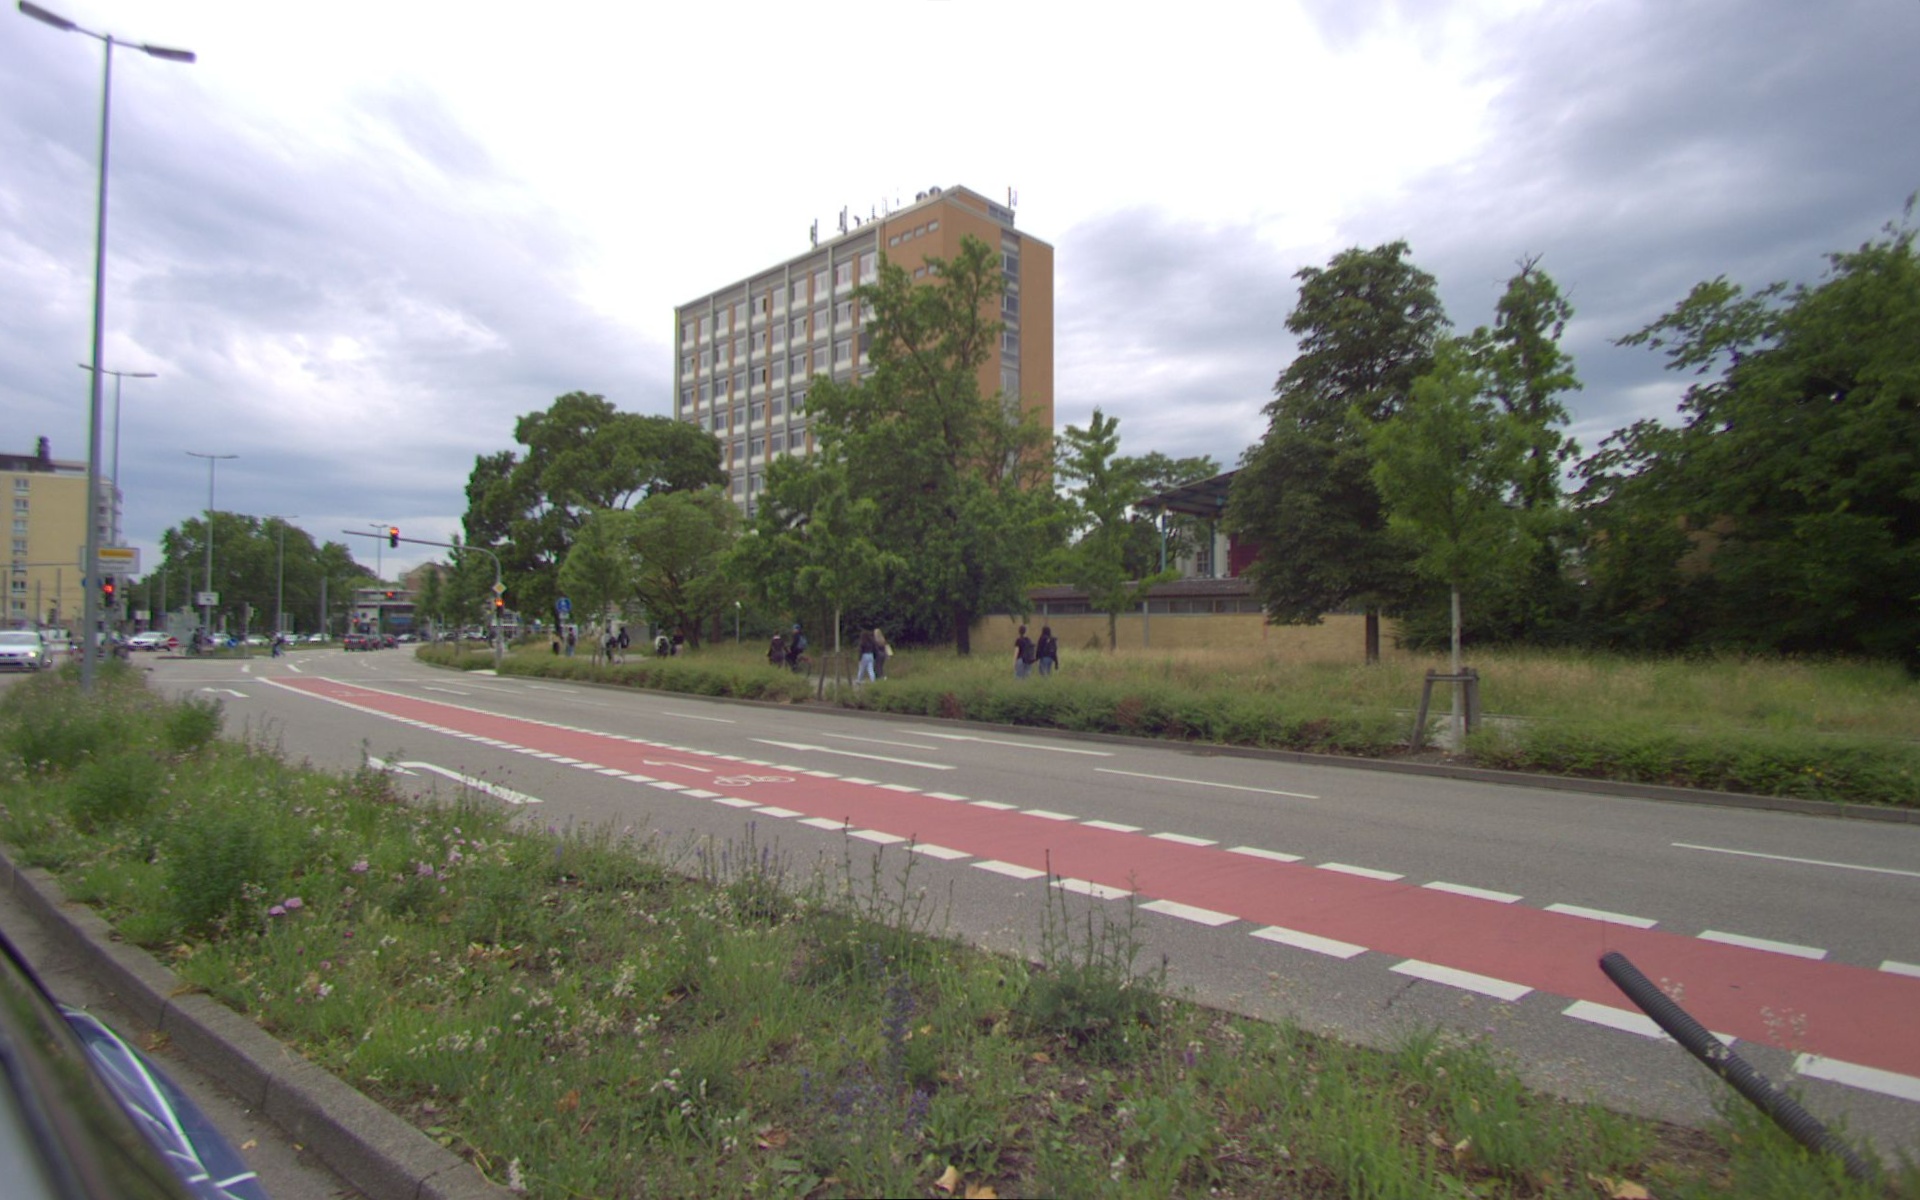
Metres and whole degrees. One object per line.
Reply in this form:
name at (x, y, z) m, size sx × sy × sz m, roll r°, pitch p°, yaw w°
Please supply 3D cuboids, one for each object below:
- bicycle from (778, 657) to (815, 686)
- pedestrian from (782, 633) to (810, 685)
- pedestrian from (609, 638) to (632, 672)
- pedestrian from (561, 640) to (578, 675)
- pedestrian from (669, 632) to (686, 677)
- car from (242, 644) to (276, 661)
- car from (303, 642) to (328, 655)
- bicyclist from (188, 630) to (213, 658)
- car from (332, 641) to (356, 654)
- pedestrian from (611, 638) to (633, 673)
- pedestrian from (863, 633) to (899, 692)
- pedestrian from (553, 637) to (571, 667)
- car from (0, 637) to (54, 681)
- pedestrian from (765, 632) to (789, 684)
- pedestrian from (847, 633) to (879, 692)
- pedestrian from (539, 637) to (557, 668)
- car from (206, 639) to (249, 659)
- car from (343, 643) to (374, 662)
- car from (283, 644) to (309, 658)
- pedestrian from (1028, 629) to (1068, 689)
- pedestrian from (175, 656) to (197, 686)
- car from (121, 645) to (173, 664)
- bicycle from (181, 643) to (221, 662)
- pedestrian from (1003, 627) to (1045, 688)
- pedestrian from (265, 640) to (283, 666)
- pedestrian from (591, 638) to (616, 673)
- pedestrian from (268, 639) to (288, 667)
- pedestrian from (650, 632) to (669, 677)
bicycle at (-5.248, 2.269, 32.424) m, size 0.651 × 0.895 × 1.720 m, roll 3°, pitch -4°, yaw -27°
pedestrian at (-5.252, 1.882, 32.466) m, size 0.651 × 1.644 × 0.766 m, roll 3°, pitch -4°, yaw -27°
pedestrian at (-16.416, 2.645, 48.945) m, size 0.826 × 1.625 × 0.629 m, roll -2°, pitch -2°, yaw 26°
pedestrian at (-20.545, 3.026, 53.217) m, size 0.629 × 1.815 × 0.763 m, roll 2°, pitch -3°, yaw -38°
pedestrian at (-11.071, 2.146, 39.669) m, size 0.570 × 1.725 × 0.764 m, roll 2°, pitch -4°, yaw -19°
car at (-75.533, 5.624, 109.117) m, size 1.808 × 1.777 × 3.922 m, roll 2°, pitch -4°, yaw -16°
car at (-81.913, 6.195, 128.682) m, size 1.775 × 1.608 × 3.770 m, roll 2°, pitch -4°, yaw -17°
bicyclist at (-48.699, 2.847, 64.898) m, size 1.173 × 1.749 × 0.808 m, roll 4°, pitch -5°, yaw -40°
car at (-84.663, 6.534, 139.050) m, size 1.584 × 1.608 × 3.767 m, roll 1°, pitch -4°, yaw -11°
pedestrian at (-14.665, 2.399, 43.930) m, size 0.627 × 1.491 × 0.763 m, roll 4°, pitch -5°, yaw -38°
pedestrian at (-2.309, 1.823, 29.569) m, size 0.767 × 1.685 × 0.699 m, roll -3°, pitch -5°, yaw 42°
pedestrian at (-22.337, 2.920, 56.806) m, size 0.697 × 1.683 × 0.891 m, roll 0°, pitch -2°, yaw -38°
car at (-33.923, 2.094, 36.245) m, size 1.758 × 1.474 × 3.880 m, roll 0°, pitch -2°, yaw -36°
pedestrian at (-5.783, 1.838, 32.031) m, size 0.567 × 1.621 × 0.618 m, roll 2°, pitch -4°, yaw -26°
pedestrian at (-2.784, 1.803, 29.101) m, size 0.720 × 1.673 × 0.579 m, roll -3°, pitch -5°, yaw 42°
pedestrian at (-22.925, 2.918, 56.306) m, size 0.697 × 1.684 × 0.945 m, roll 1°, pitch -3°, yaw -38°
car at (-71.615, 4.842, 98.986) m, size 1.966 × 1.896 × 4.010 m, roll 2°, pitch -4°, yaw -14°
car at (-56.488, 4.899, 95.107) m, size 1.785 × 1.680 × 3.962 m, roll 2°, pitch -2°, yaw -20°
car at (-79.206, 6.100, 120.748) m, size 1.583 × 1.608 × 3.770 m, roll 2°, pitch -4°, yaw -17°
pedestrian at (2.065, 1.379, 23.759) m, size 0.637 × 1.373 × 0.681 m, roll 4°, pitch -5°, yaw -44°
pedestrian at (-47.403, 4.328, 61.998) m, size 0.903 × 1.818 × 0.542 m, roll 2°, pitch -4°, yaw -26°
car at (-68.466, 4.614, 85.326) m, size 1.790 × 1.486 × 4.043 m, roll 2°, pitch -4°, yaw -13°
bicycle at (-48.657, 3.363, 64.904) m, size 1.975 × 1.151 × 0.808 m, roll 4°, pitch -5°, yaw -40°
pedestrian at (1.454, 1.314, 23.126) m, size 0.637 × 1.368 × 0.712 m, roll 4°, pitch -5°, yaw -43°
pedestrian at (-43.995, 3.386, 64.904) m, size 0.706 × 1.680 × 0.767 m, roll -2°, pitch -5°, yaw 40°
pedestrian at (-15.304, 2.390, 43.428) m, size 0.719 × 1.491 × 0.814 m, roll 4°, pitch -5°, yaw -38°
pedestrian at (-45.289, 3.538, 67.201) m, size 0.737 × 1.818 × 0.761 m, roll -1°, pitch -4°, yaw 26°
pedestrian at (-11.611, 2.127, 39.156) m, size 0.613 × 1.708 × 0.749 m, roll 2°, pitch -4°, yaw -19°
